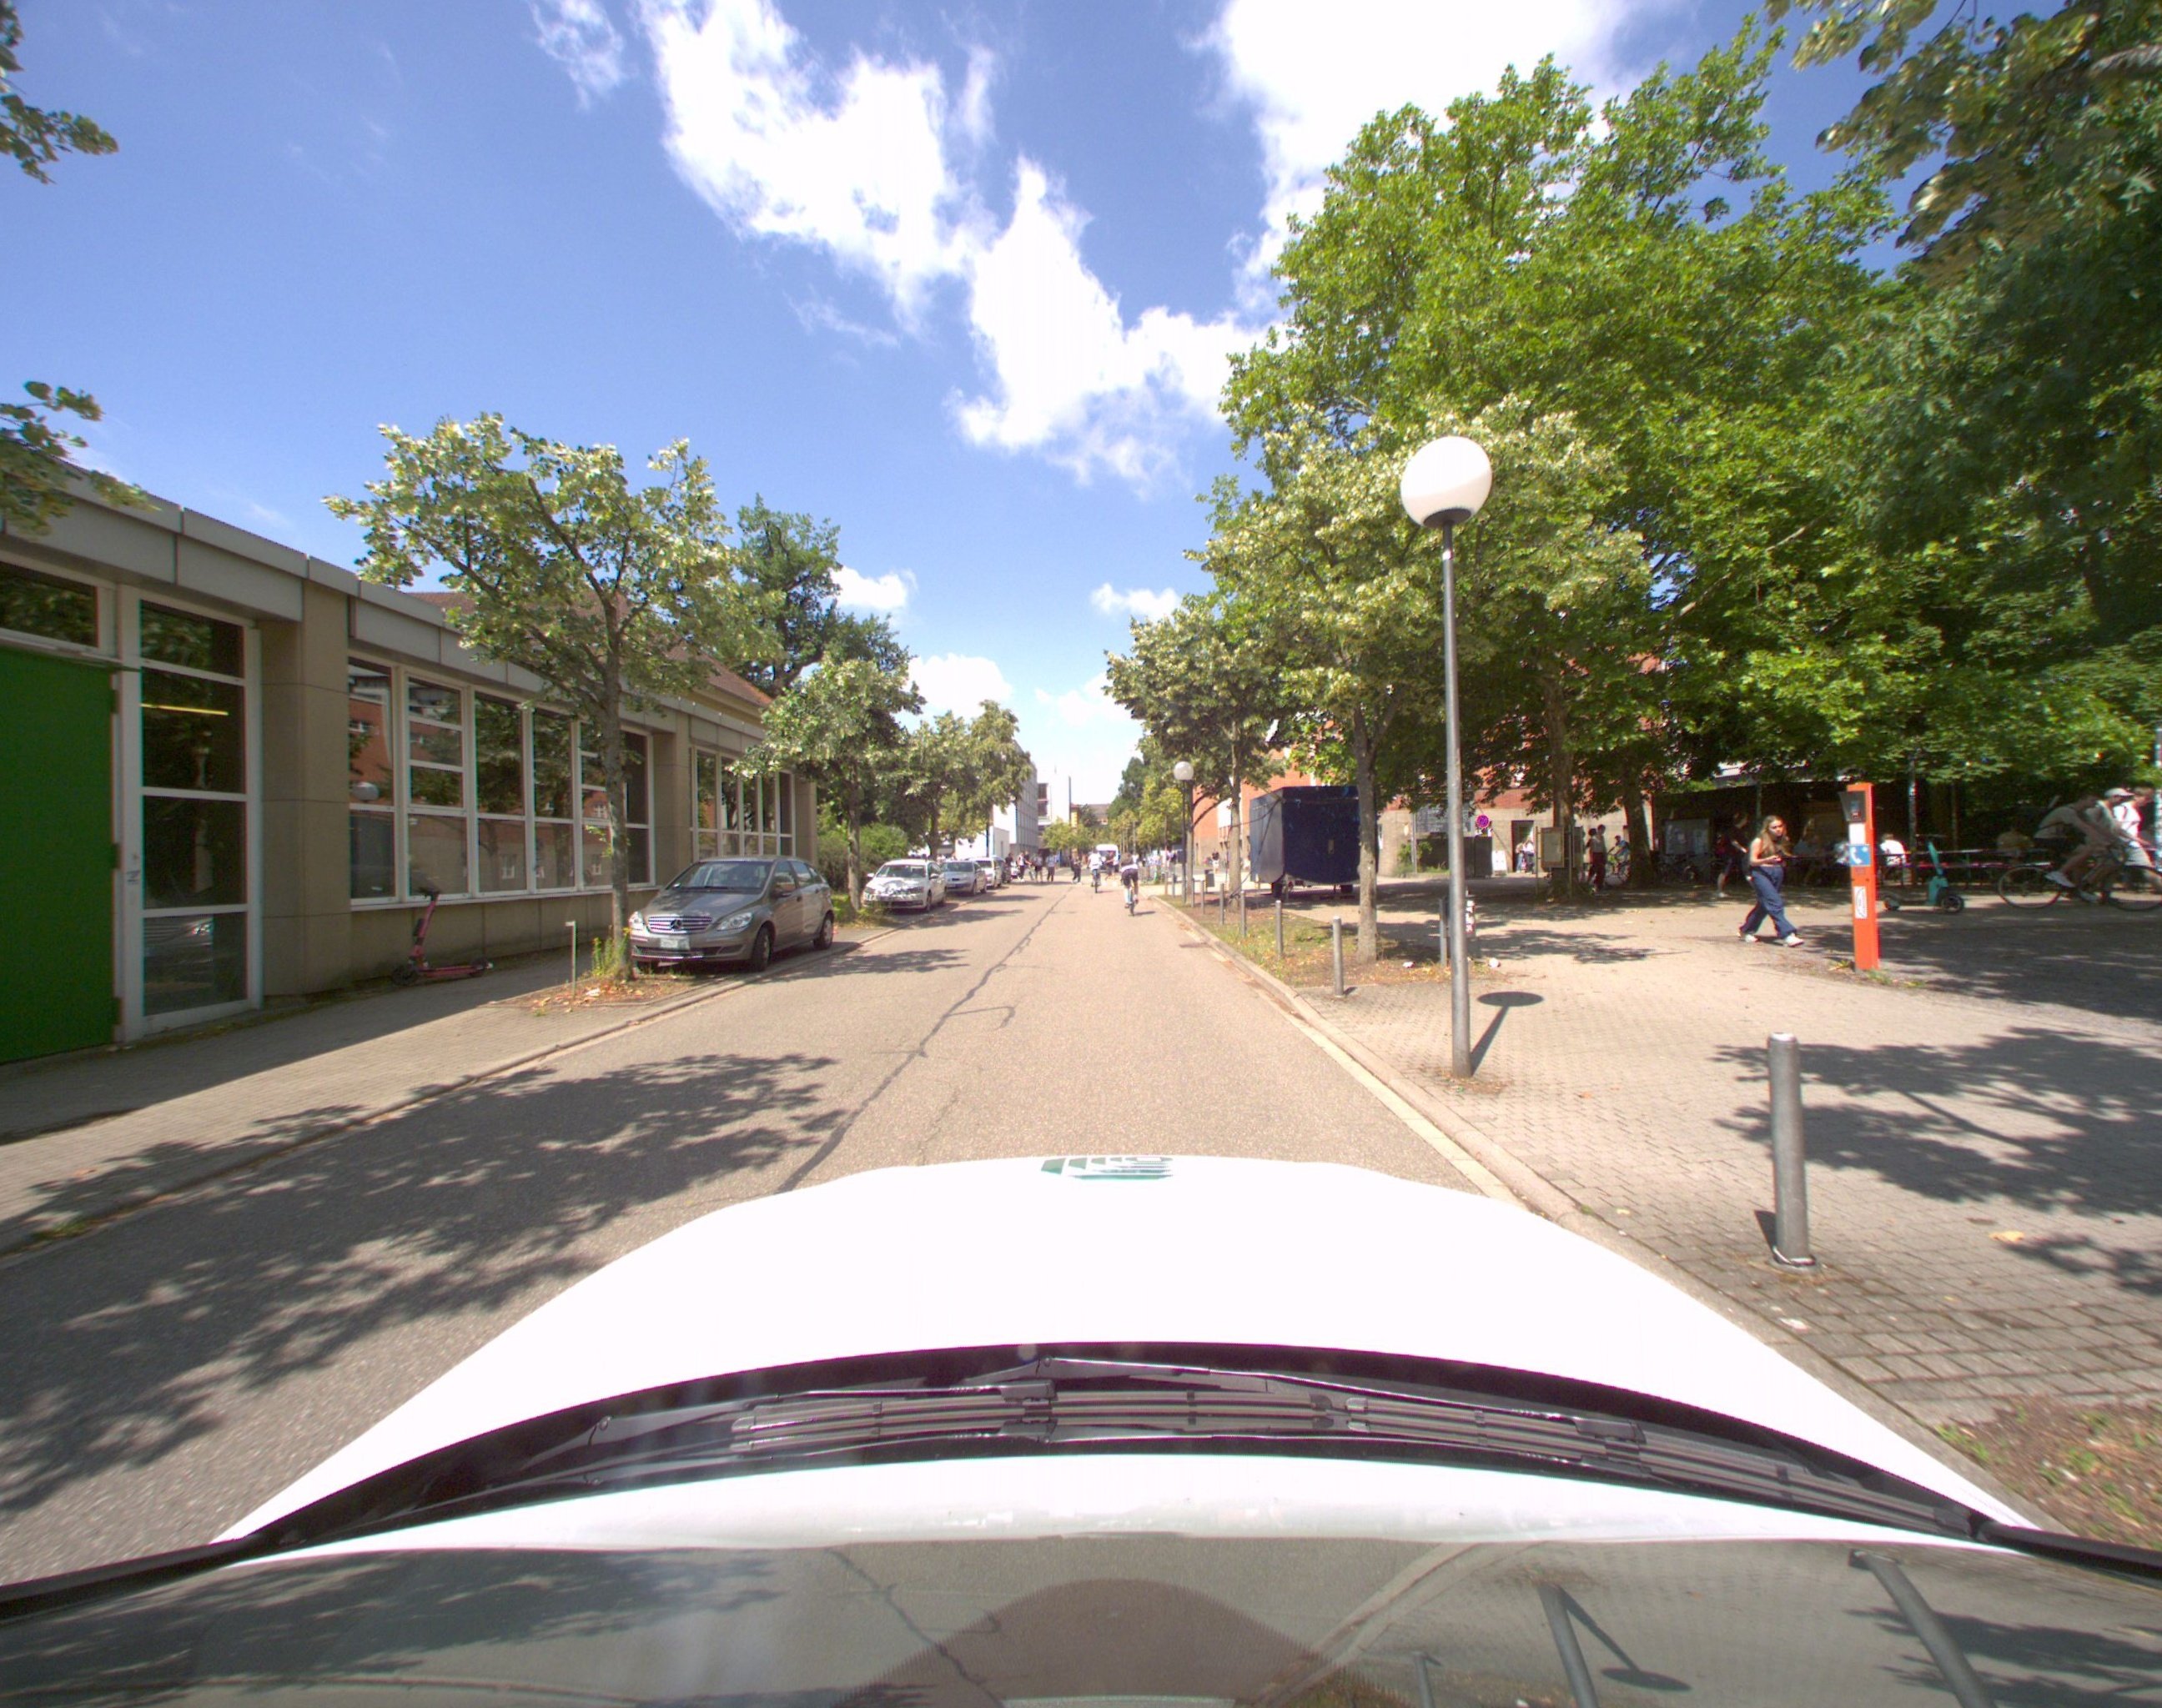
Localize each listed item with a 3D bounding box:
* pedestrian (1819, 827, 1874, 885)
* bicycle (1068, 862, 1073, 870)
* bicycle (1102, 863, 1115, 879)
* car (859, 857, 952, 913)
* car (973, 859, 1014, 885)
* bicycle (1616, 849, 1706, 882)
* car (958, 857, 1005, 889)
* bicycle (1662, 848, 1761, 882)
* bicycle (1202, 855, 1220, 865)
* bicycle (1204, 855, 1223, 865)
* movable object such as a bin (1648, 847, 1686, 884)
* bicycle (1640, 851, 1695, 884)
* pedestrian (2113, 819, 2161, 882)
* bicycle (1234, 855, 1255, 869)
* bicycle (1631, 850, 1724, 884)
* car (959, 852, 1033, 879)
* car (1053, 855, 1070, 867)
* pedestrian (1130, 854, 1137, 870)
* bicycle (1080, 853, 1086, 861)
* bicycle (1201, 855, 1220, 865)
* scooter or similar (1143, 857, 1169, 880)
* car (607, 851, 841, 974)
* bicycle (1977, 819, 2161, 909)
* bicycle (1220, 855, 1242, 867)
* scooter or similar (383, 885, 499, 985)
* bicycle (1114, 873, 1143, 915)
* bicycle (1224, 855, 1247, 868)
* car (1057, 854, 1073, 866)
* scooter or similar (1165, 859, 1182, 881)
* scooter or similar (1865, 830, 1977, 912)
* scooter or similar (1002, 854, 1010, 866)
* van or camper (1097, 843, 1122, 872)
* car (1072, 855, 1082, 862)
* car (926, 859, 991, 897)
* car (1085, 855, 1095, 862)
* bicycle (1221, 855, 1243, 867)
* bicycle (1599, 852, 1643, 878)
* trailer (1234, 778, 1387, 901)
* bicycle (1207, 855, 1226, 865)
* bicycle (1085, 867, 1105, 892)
[{"bbox_3d":[18.645,0.034,19.841,0.568,1.346,0.728,-4,0,-3],"label":"pedestrian"},{"bbox_3d":[-1.317,1.459,102.773,0.675,0.965,2.002,-2,0,-1],"label":"bicycle"},{"bbox_3d":[1.822,1.100,53.230,0.805,1.002,2.125,0,-1,2],"label":"bicycle"},{"bbox_3d":[-4.980,0.825,23.722,1.720,1.456,4.582,1,0,0],"label":"car"},{"bbox_3d":[-4.743,0.933,44.581,1.638,1.300,3.930,-2,0,2],"label":"car"},{"bbox_3d":[19.954,0.409,28.063,2.379,1.072,0.786,-1,-1,14],"label":"bicycle"},{"bbox_3d":[-4.642,0.841,38.375,1.656,1.412,3.808,0,0,1],"label":"car"},{"bbox_3d":[20.083,0.350,25.991,2.380,1.072,0.786,0,-1,13],"label":"bicycle"},{"bbox_3d":[13.602,0.594,85.186,1.803,0.985,0.560,-3,0,0],"label":"bicycle"},{"bbox_3d":[13.478,0.602,82.850,1.803,0.985,0.560,-3,0,0],"label":"bicycle"},{"bbox_3d":[17.529,0.346,24.373,0.597,1.071,0.742,-1,-2,2],"label":"movable object such as a bin"},{"bbox_3d":[21.357,0.468,29.724,0.571,1.140,2.027,-1,0,1],"label":"bicycle"},{"bbox_3d":[22.473,-0.074,17.137,0.665,1.271,0.621,-4,0,-3],"label":"pedestrian"},{"bbox_3d":[12.921,0.655,64.386,1.529,1.033,0.560,-2,0,0],"label":"bicycle"},{"bbox_3d":[19.852,0.428,27.150,2.383,1.072,0.785,-1,-1,8],"label":"bicycle"},{"bbox_3d":[-5.698,0.762,54.434,4.465,1.619,1.935,1,-1,24],"label":"car"},{"bbox_3d":[-2.634,0.967,109.973,1.787,1.530,4.006,-2,0,5],"label":"car"},{"bbox_3d":[6.423,0.982,100.360,0.787,1.860,1.026,-2,0,2],"label":"pedestrian"},{"bbox_3d":[0.268,0.390,103.226,0.674,0.965,2.004,1,-2,2],"label":"bicycle"},{"bbox_3d":[13.697,0.590,86.148,1.803,0.985,0.560,-3,0,0],"label":"bicycle"},{"bbox_3d":[4.279,0.827,46.390,1.248,1.265,0.644,-2,0,33],"label":"scooter or similar"},{"bbox_3d":[-5.158,0.757,12.448,1.752,1.556,4.112,1,0,-1],"label":"car"},{"bbox_3d":[15.100,0.151,12.481,0.531,1.252,1.726,-3,0,-19],"label":"bicycle"},{"bbox_3d":[13.281,0.630,72.209,1.803,0.985,0.560,-3,0,0],"label":"bicycle"},{"bbox_3d":[-8.215,1.014,10.509,0.503,1.169,1.216,0,0,2],"label":"scooter or similar"},{"bbox_3d":[1.230,1.008,20.957,0.703,0.993,1.912,-1,-1,4],"label":"bicycle"},{"bbox_3d":[13.355,0.645,70.342,1.803,0.985,0.560,-3,0,0],"label":"bicycle"},{"bbox_3d":[-2.297,0.855,117.386,1.787,1.530,4.006,-2,0,5],"label":"car"},{"bbox_3d":[5.018,0.869,44.013,0.643,1.160,1.270,-2,0,17],"label":"scooter or similar"},{"bbox_3d":[13.216,0.261,12.853,0.422,1.219,1.295,-2,-1,2],"label":"scooter or similar"},{"bbox_3d":[-7.394,0.602,80.502,0.374,1.216,1.211,-2,0,17],"label":"scooter or similar"},{"bbox_3d":[2.565,0.316,72.873,1.984,2.446,4.574,-2,-1,4],"label":"van or camper"},{"bbox_3d":[-0.818,0.943,176.716,1.787,1.530,4.006,-2,0,5],"label":"car"},{"bbox_3d":[-4.758,0.895,32.223,1.718,1.343,4.168,1,0,3],"label":"car"},{"bbox_3d":[1.968,0.918,175.751,1.787,1.530,4.006,-2,0,5],"label":"car"},{"bbox_3d":[13.236,0.609,71.575,1.803,0.985,0.560,-3,0,0],"label":"bicycle"},{"bbox_3d":[22.968,0.452,34.620,2.031,1.080,0.616,-1,0,-27],"label":"bicycle"},{"bbox_3d":[6.511,-0.369,24.157,2.683,3.051,6.257,-2,0,0],"label":"trailer"},{"bbox_3d":[13.548,0.601,81.314,1.803,0.985,0.560,-3,0,0],"label":"bicycle"},{"bbox_3d":[0.616,1.085,34.998,0.805,1.002,2.124,-2,-1,1],"label":"bicycle"}]
